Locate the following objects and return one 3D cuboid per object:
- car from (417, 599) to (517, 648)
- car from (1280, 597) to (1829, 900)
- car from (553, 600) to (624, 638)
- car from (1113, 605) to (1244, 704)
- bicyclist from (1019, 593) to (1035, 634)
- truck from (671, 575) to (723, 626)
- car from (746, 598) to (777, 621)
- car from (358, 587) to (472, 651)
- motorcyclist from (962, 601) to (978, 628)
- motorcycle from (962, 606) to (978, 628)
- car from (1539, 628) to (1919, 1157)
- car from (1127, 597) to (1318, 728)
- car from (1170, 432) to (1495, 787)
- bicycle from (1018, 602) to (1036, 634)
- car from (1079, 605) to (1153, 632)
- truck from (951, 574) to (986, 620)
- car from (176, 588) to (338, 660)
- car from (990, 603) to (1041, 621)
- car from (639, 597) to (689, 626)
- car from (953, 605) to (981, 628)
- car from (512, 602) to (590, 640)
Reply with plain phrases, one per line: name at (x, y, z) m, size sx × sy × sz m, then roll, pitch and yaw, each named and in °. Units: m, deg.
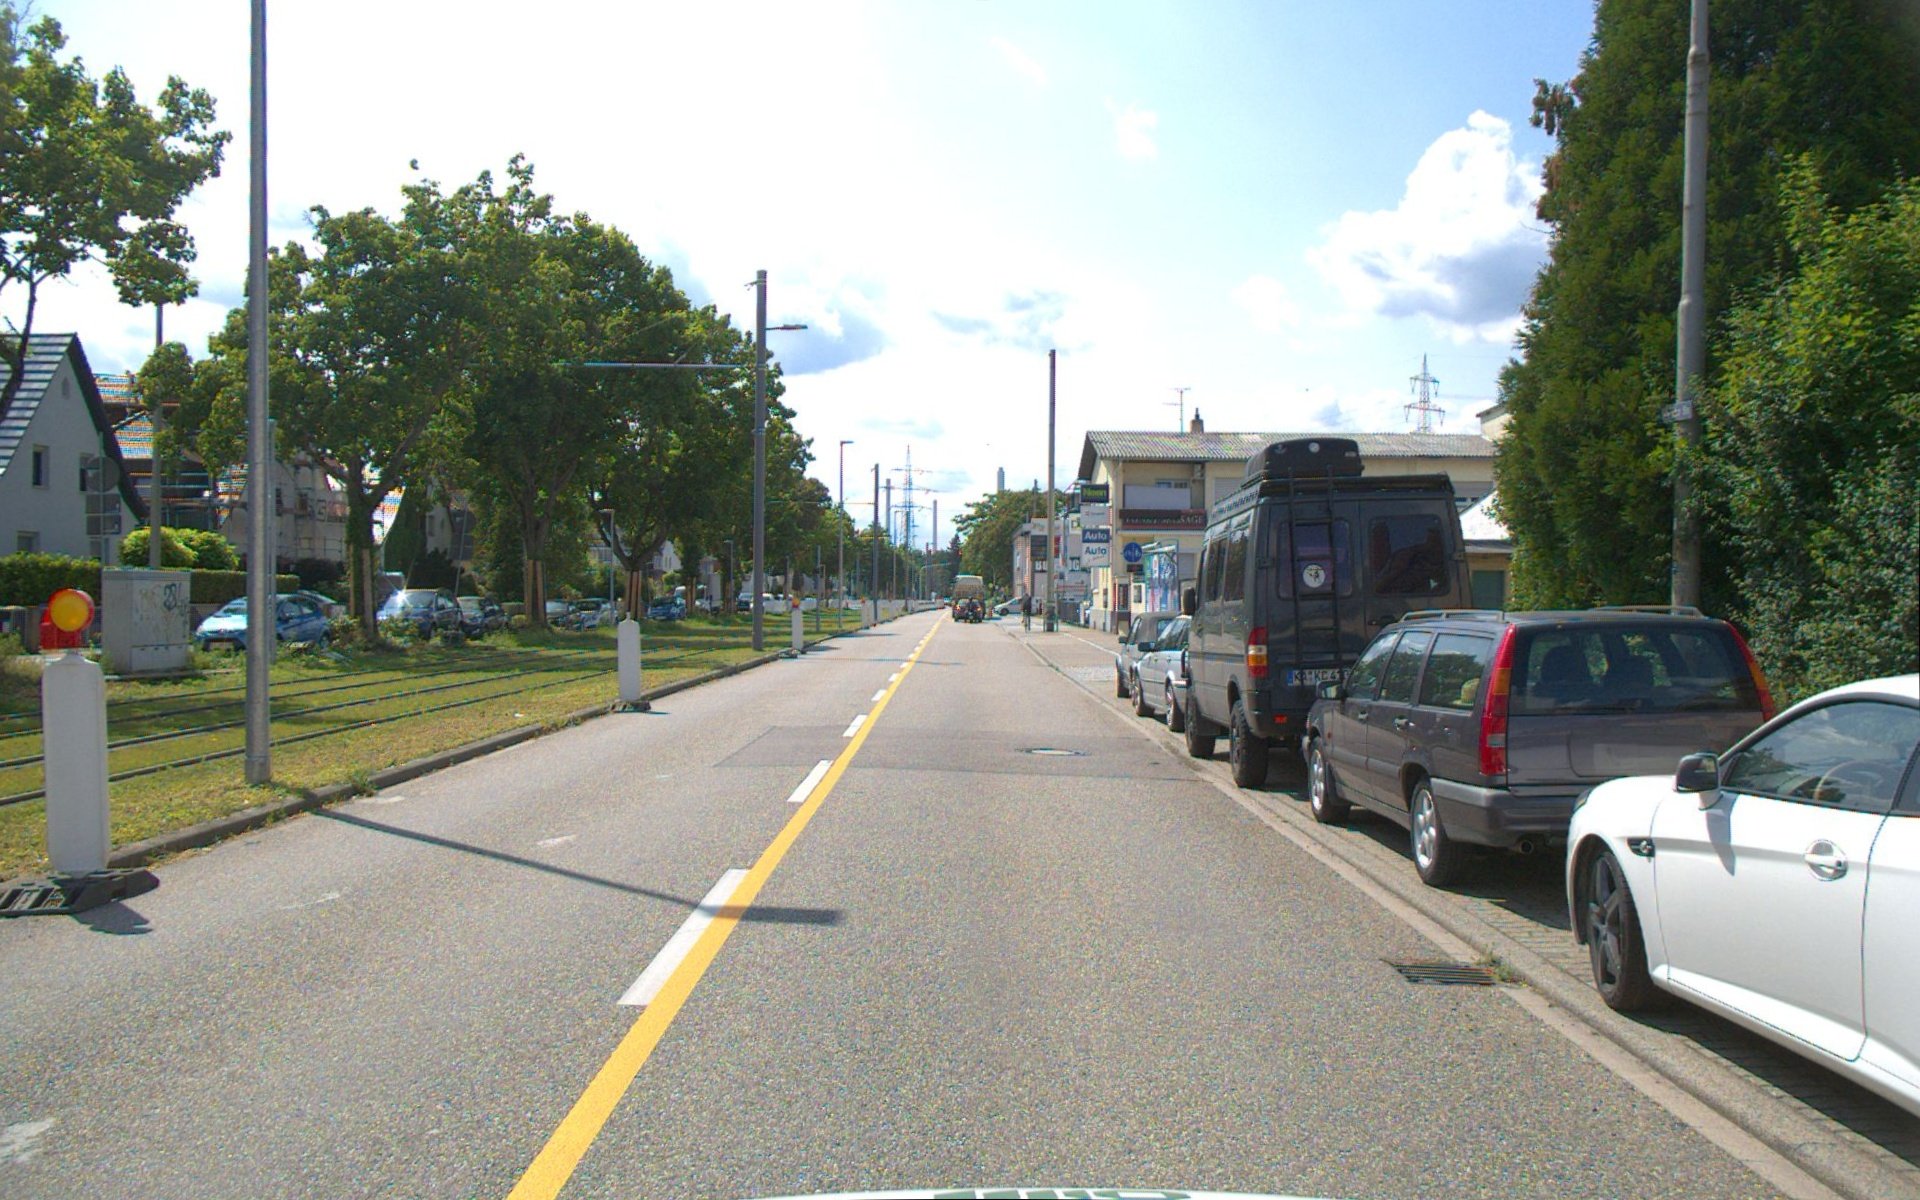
car at (-15.510, 0.734, 52.239) m, size 1.953 × 1.464 × 3.999 m, roll -1°, pitch -1°, yaw 0°
car at (3.297, 0.723, 10.292) m, size 1.686 × 1.426 × 4.837 m, roll 0°, pitch 0°, yaw 0°
car at (-15.256, 0.793, 68.086) m, size 1.768 × 1.508 × 4.939 m, roll 0°, pitch -1°, yaw 0°
car at (3.411, 0.832, 26.417) m, size 1.617 × 1.456 × 4.097 m, roll 0°, pitch -1°, yaw 1°
bicyclist at (3.011, 0.600, 73.918) m, size 0.657 × 1.774 × 0.813 m, roll 1°, pitch 0°, yaw 0°
truck at (-15.298, 0.031, 96.601) m, size 1.953 × 2.816 × 6.276 m, roll -2°, pitch 0°, yaw 0°
car at (-15.623, 0.776, 130.406) m, size 1.953 × 1.780 × 4.000 m, roll 0°, pitch -1°, yaw 0°
car at (-15.244, 0.545, 46.498) m, size 1.954 × 1.721 × 4.388 m, roll 0°, pitch -1°, yaw -3°
motorcyclist at (0.648, 0.939, 104.628) m, size 0.920 × 1.643 × 1.205 m, roll 3°, pitch -1°, yaw 0°
motorcycle at (0.638, 1.096, 104.807) m, size 0.920 × 1.343 × 2.645 m, roll 3°, pitch -1°, yaw 0°
car at (3.289, 0.765, 4.856) m, size 1.686 × 1.318 × 4.128 m, roll 0°, pitch 0°, yaw -1°
car at (3.318, 0.767, 21.721) m, size 1.657 × 1.543 × 4.353 m, roll 0°, pitch -1°, yaw -2°
car at (3.273, 0.090, 15.587) m, size 1.955 × 2.809 × 4.878 m, roll 0°, pitch 0°, yaw 0°
bicycle at (2.994, 0.790, 73.835) m, size 0.678 × 1.385 × 2.418 m, roll 1°, pitch 0°, yaw 0°
car at (8.792, 1.019, 92.908) m, size 4.094 × 1.456 × 1.821 m, roll 1°, pitch -1°, yaw 7°
truck at (0.663, -0.297, 125.622) m, size 2.556 × 3.312 × 9.183 m, roll 0°, pitch 1°, yaw 1°
car at (-15.102, 0.514, 35.763) m, size 1.717 × 1.461 × 3.890 m, roll 0°, pitch -1°, yaw 2°
car at (4.922, 1.103, 146.750) m, size 4.249 × 1.579 × 1.946 m, roll 0°, pitch -1°, yaw -8°
car at (-15.297, 0.610, 85.653) m, size 1.953 × 1.478 × 3.998 m, roll 0°, pitch -1°, yaw -2°
car at (0.479, 1.057, 109.282) m, size 1.784 × 1.449 × 4.000 m, roll 2°, pitch 0°, yaw 0°
car at (-15.386, 0.793, 62.431) m, size 1.953 × 1.341 × 3.852 m, roll -2°, pitch -1°, yaw 0°
